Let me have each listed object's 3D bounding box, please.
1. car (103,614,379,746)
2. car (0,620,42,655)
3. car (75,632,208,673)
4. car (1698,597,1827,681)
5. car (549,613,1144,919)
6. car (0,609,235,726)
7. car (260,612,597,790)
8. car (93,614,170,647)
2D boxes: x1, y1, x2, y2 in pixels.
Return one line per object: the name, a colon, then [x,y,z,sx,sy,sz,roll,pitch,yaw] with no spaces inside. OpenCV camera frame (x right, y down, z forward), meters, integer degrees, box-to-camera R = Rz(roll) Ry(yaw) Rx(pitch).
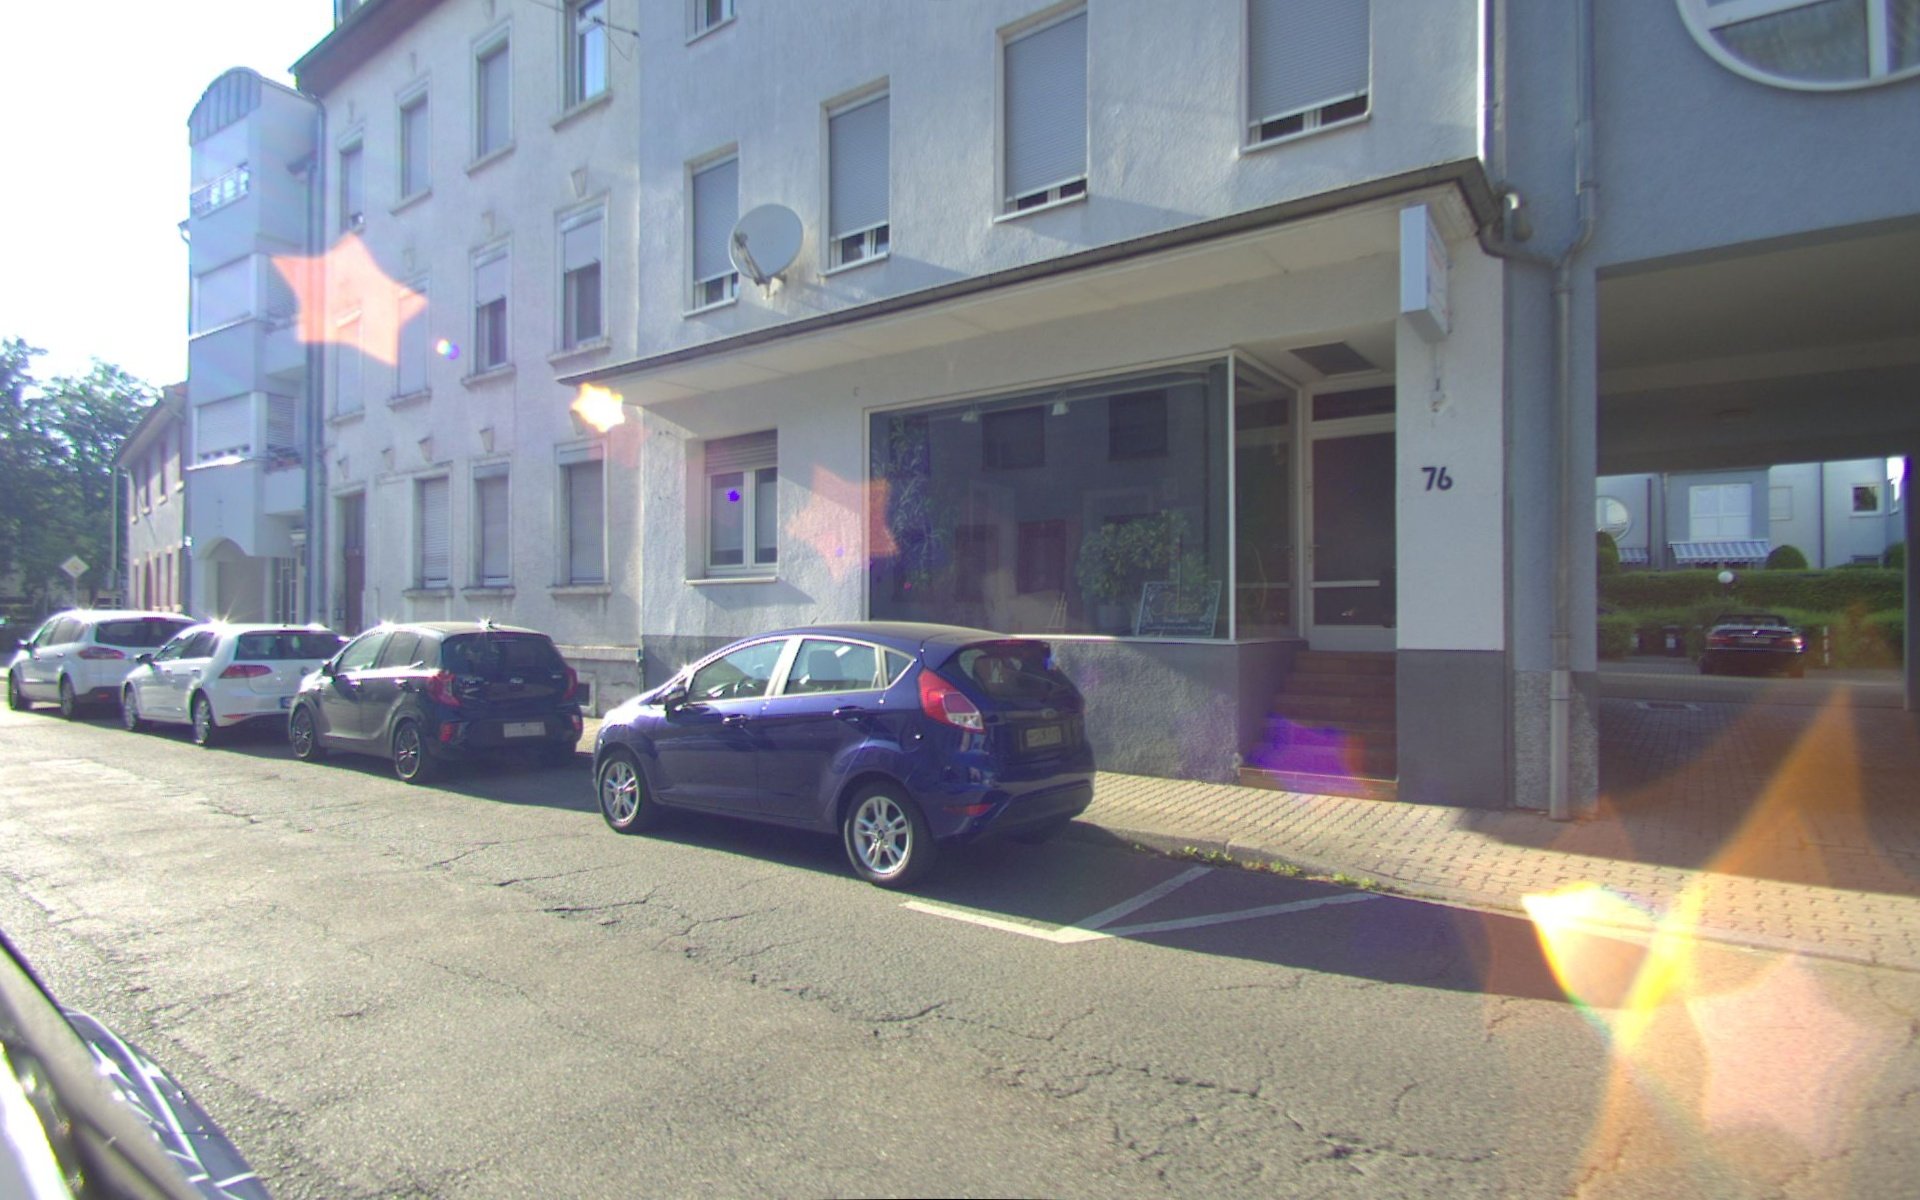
car: [-9.623,0.976,13.455,4.117,1.507,1.749,-2,-2,36]
car: [-54.818,2.143,58.143,4.890,1.909,1.829,-2,-2,33]
car: [-32.395,2.086,40.124,1.997,1.542,3.732,-2,-3,37]
car: [17.392,0.819,22.093,1.898,1.682,3.492,-1,-2,34]
car: [-0.920,0.878,6.910,3.952,1.511,1.715,-1,-2,37]
car: [-14.183,1.030,16.689,5.208,1.660,1.977,-2,-2,34]
car: [-5.628,0.936,10.571,3.802,1.538,1.645,-2,-3,37]
car: [-51.776,1.903,63.246,4.298,1.963,2.007,-1,-2,24]
